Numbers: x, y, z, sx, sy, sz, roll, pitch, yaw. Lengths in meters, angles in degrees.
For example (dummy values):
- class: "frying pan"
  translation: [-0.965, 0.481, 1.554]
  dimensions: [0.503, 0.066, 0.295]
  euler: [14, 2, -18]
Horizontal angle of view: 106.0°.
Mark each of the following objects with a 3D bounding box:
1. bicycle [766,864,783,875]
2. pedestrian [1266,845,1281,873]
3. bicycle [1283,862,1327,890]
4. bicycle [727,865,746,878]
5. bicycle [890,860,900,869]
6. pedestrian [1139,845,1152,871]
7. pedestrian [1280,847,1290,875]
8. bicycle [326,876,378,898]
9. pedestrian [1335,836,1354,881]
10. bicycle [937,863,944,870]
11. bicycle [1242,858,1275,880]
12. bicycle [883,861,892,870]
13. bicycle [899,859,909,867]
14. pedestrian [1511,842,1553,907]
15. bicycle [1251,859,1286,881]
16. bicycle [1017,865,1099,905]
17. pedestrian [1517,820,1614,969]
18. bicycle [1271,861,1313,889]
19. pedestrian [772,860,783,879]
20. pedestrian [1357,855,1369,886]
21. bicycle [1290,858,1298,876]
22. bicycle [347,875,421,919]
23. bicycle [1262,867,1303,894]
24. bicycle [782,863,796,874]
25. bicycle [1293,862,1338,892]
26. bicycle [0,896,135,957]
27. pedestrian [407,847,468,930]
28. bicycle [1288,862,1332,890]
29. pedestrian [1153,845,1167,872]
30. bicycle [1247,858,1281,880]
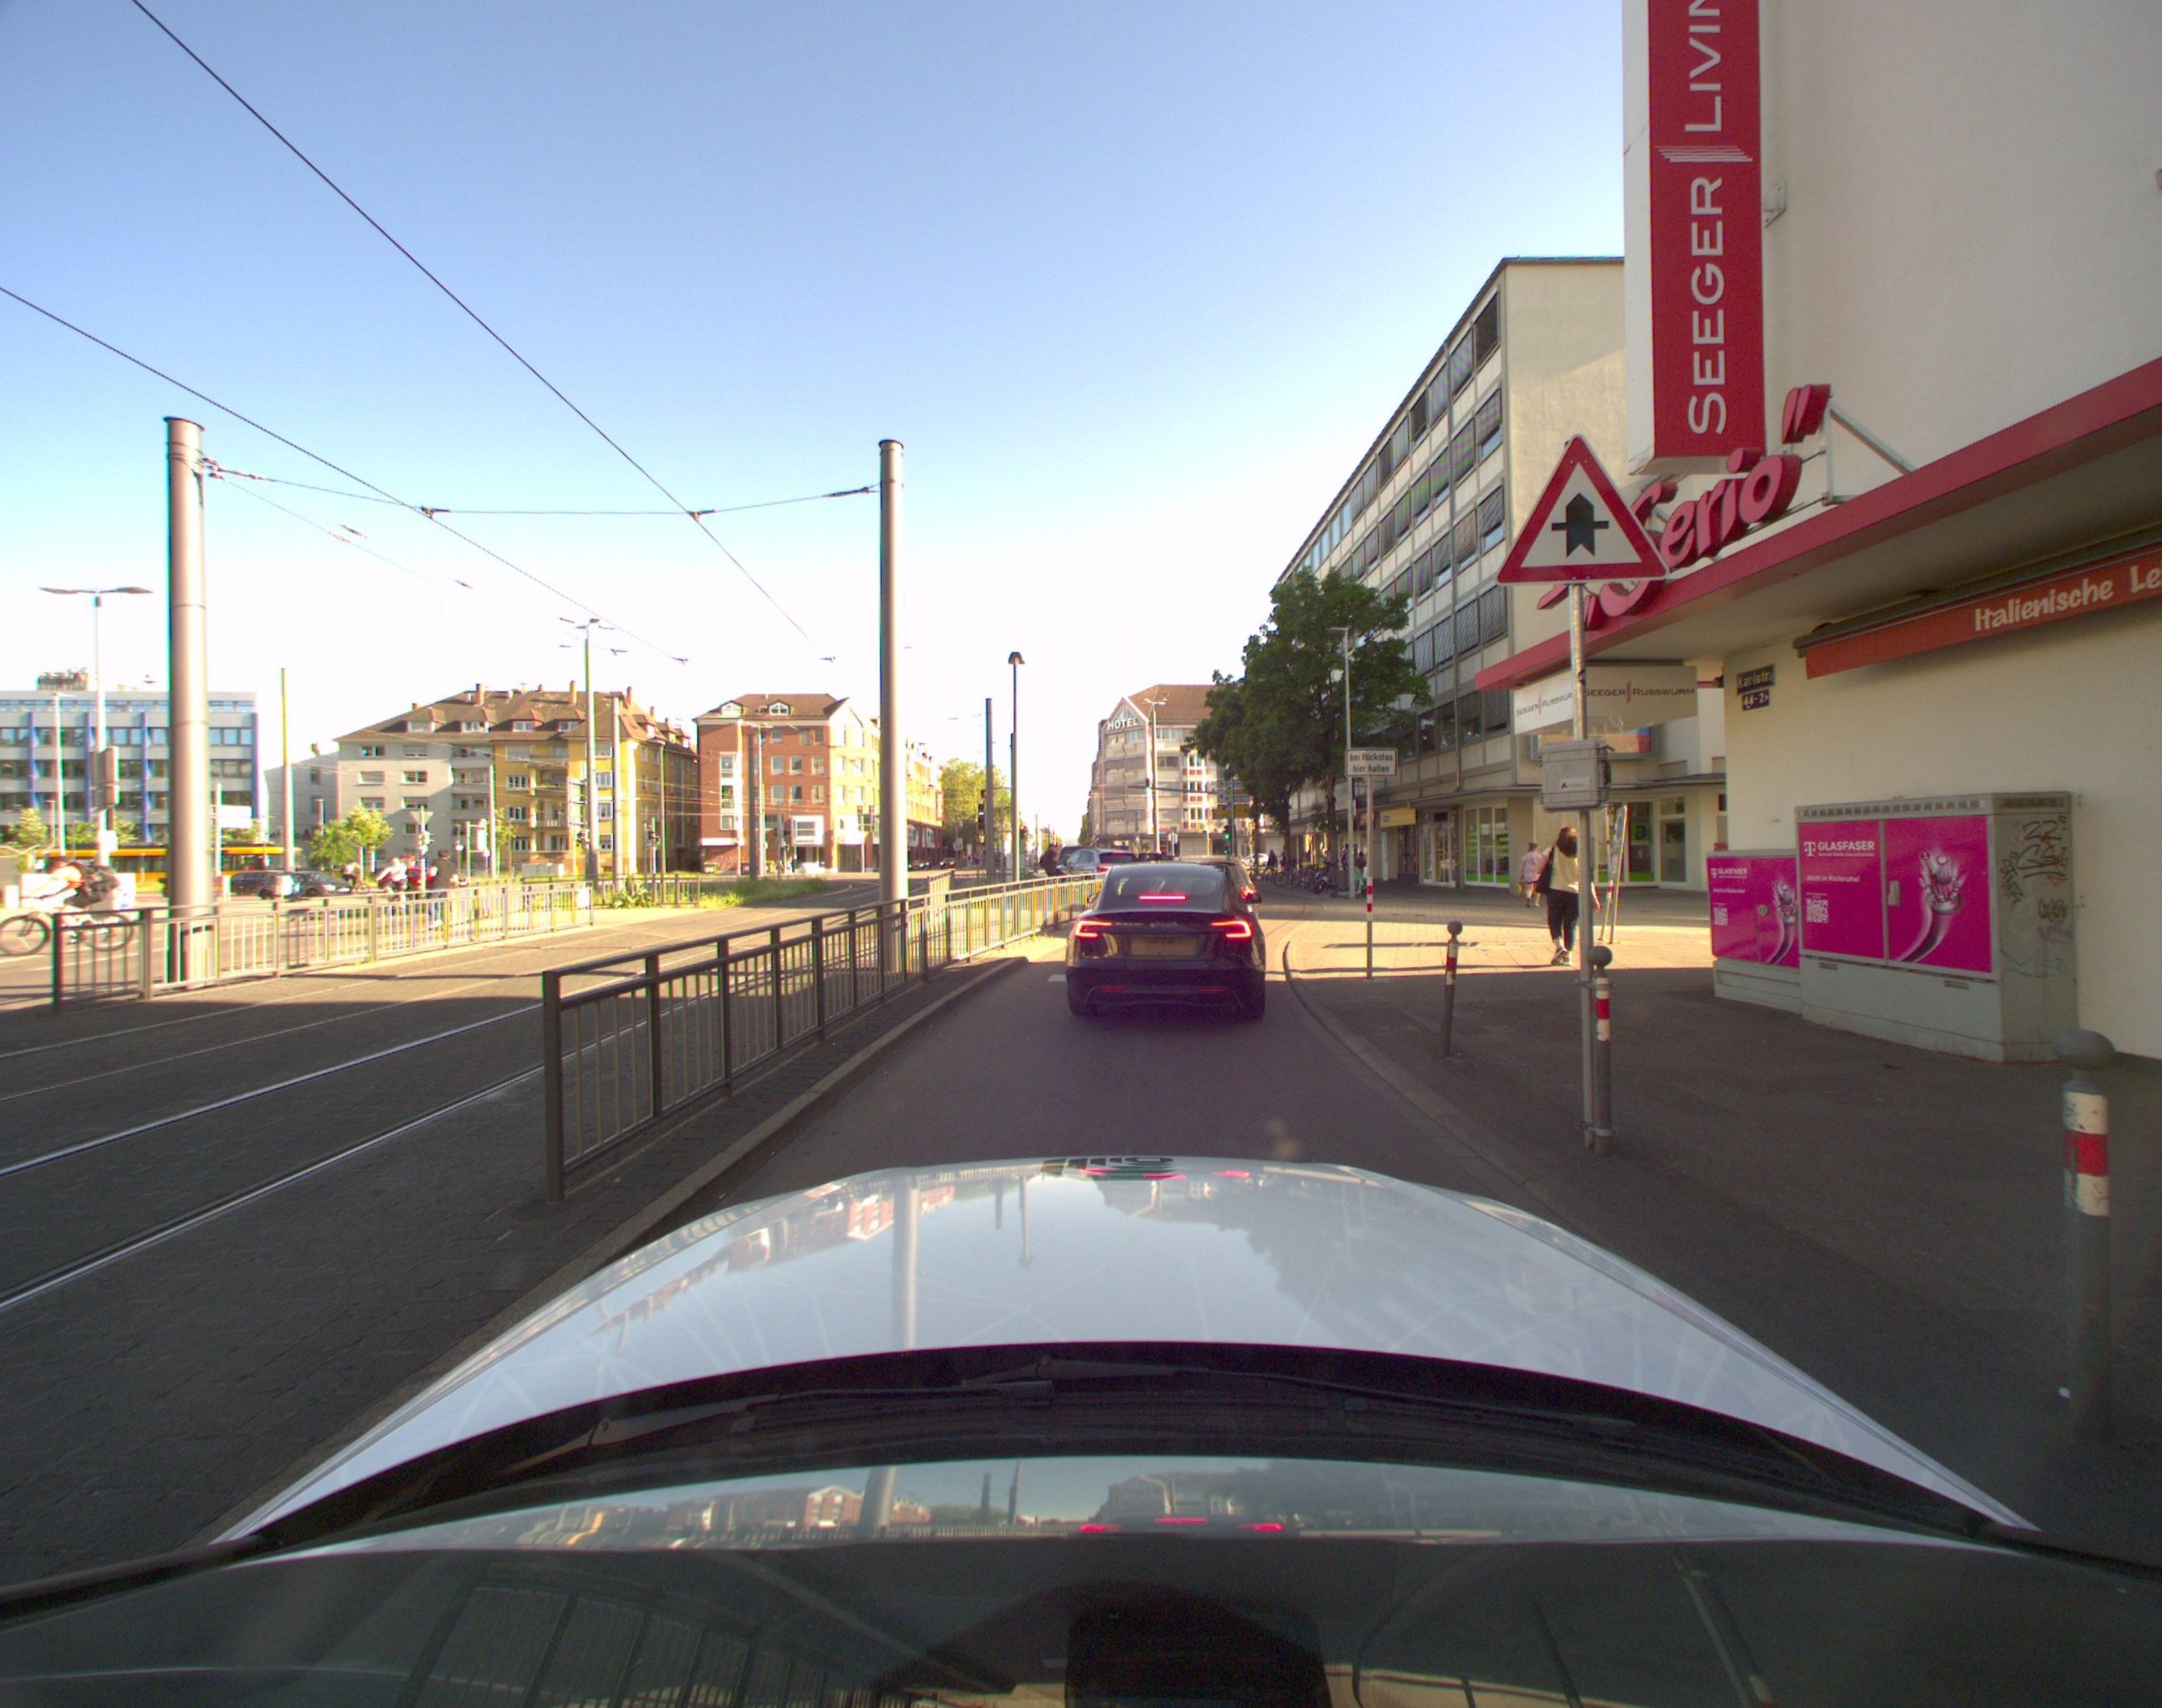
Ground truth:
- class: "bicycle"
  translation: [-25.826, 1.293, 68.595]
  dimensions: [0.522, 0.972, 2.247]
  euler: [0, -1, 2]
- class: "pedestrian"
  translation: [11.552, 0.328, 48.890]
  dimensions: [0.697, 1.662, 0.777]
  euler: [0, -1, 1]
- class: "bicycle"
  translation: [8.734, 0.859, 31.799]
  dimensions: [1.649, 1.099, 0.349]
  euler: [0, -1, -9]
- class: "bicycle"
  translation: [-26.104, 1.327, 61.736]
  dimensions: [0.445, 0.972, 2.247]
  euler: [0, -1, 2]
- class: "bicycle"
  translation: [-22.628, 1.286, 98.963]
  dimensions: [0.527, 1.088, 2.286]
  euler: [2, -1, 4]
- class: "pedestrian"
  translation: [5.145, 0.333, 64.867]
  dimensions: [0.917, 2.014, 0.973]
  euler: [0, -1, 1]
- class: "pedestrian"
  translation: [12.280, 0.413, 49.074]
  dimensions: [0.523, 1.710, 0.404]
  euler: [-1, -1, 10]
- class: "bicycle"
  translation: [-40.975, 1.856, 45.769]
  dimensions: [2.188, 1.214, 0.544]
  euler: [0, -1, -11]
- class: "pedestrian"
  translation: [11.798, 0.209, 36.502]
  dimensions: [0.659, 2.014, 0.580]
  euler: [0, -1, 4]
- class: "bicycle"
  translation: [-23.299, 2.115, 135.143]
  dimensions: [0.527, 1.088, 2.227]
  euler: [0, -1, 4]
- class: "bicycle"
  translation: [9.248, 0.790, 42.404]
  dimensions: [1.643, 1.099, 0.350]
  euler: [0, -1, 3]
- class: "bicycle"
  translation: [-22.570, 1.331, 95.011]
  dimensions: [0.535, 1.088, 2.225]
  euler: [0, -1, 1]
- class: "bicycle"
  translation: [-22.353, 1.130, 102.902]
  dimensions: [0.527, 1.088, 2.286]
  euler: [0, -1, 4]
- class: "pedestrian"
  translation: [11.771, 0.523, 21.289]
  dimensions: [0.881, 1.667, 0.813]
  euler: [-1, -1, 25]
- class: "bicycle"
  translation: [9.285, 0.797, 40.261]
  dimensions: [1.643, 1.099, 0.350]
  euler: [0, -1, 3]
- class: "bicycle"
  translation: [-0.611, 0.832, 22.613]
  dimensions: [2.346, 1.053, 0.624]
  euler: [0, -1, -36]
- class: "pedestrian"
  translation: [6.043, 0.478, 10.227]
  dimensions: [0.906, 1.752, 1.044]
  euler: [-1, 0, 25]
- class: "bicycle"
  translation: [8.620, 0.847, 33.330]
  dimensions: [1.649, 1.099, 0.349]
  euler: [0, -1, -9]
- class: "pedestrian"
  translation: [-29.835, 1.532, 80.118]
  dimensions: [0.780, 1.820, 0.747]
  euler: [0, -1, 3]
- class: "pedestrian"
  translation: [12.614, 0.739, 36.426]
  dimensions: [0.388, 1.343, 0.513]
  euler: [0, -1, 4]
- class: "bicycle"
  translation: [12.714, 0.768, 48.595]
  dimensions: [0.330, 1.034, 1.260]
  euler: [-1, -1, 11]
- class: "bicycle"
  translation: [-20.896, 1.259, 24.462]
  dimensions: [0.481, 1.222, 1.857]
  euler: [0, -1, 5]
- class: "bicycle"
  translation: [8.461, 1.095, 34.191]
  dimensions: [1.649, 1.099, 0.349]
  euler: [0, -1, -9]
- class: "bicycle"
  translation: [-26.852, 1.355, 74.945]
  dimensions: [0.402, 0.981, 1.699]
  euler: [-1, -1, 10]
- class: "bicycle"
  translation: [8.899, 0.859, 30.949]
  dimensions: [1.649, 1.099, 0.349]
  euler: [0, -1, -9]
- class: "bicycle"
  translation: [-18.004, 1.261, 14.410]
  dimensions: [1.606, 0.994, 0.400]
  euler: [0, -1, -29]
- class: "pedestrian"
  translation: [-13.220, 0.697, 16.751]
  dimensions: [0.587, 1.681, 0.775]
  euler: [0, -1, 6]
- class: "bicycle"
  translation: [8.821, 0.857, 31.373]
  dimensions: [1.649, 1.061, 0.349]
  euler: [0, -1, -9]
- class: "pedestrian"
  translation: [5.936, 0.329, 61.226]
  dimensions: [0.917, 2.014, 0.973]
  euler: [0, -1, 1]
- class: "bicycle"
  translation: [9.267, 0.760, 41.309]
  dimensions: [1.643, 1.099, 0.350]
  euler: [-1, 0, 3]
